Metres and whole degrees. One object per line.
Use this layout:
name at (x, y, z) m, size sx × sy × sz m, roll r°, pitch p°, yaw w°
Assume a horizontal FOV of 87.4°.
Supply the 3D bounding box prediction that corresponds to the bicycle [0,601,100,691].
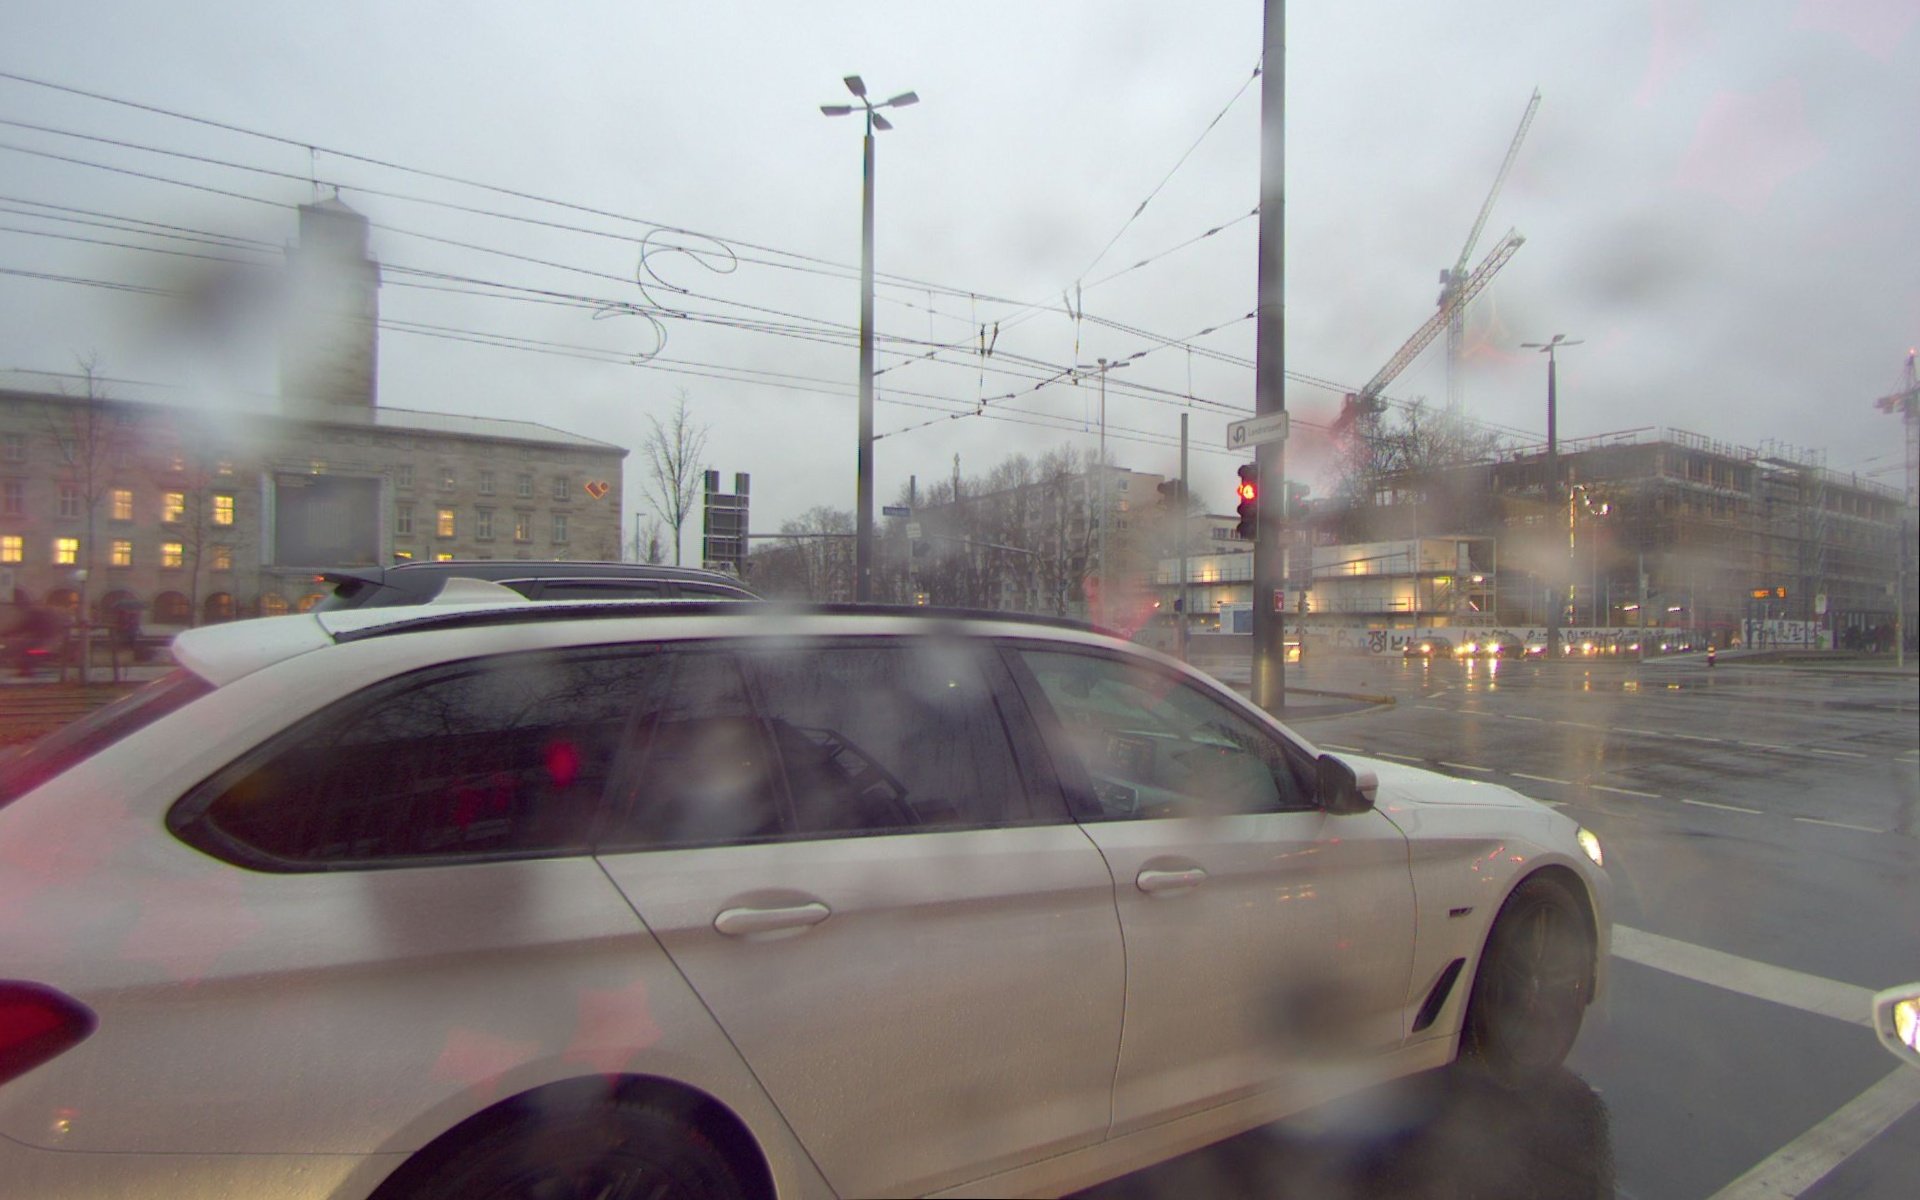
bicycle at (-18.789, 0.922, 20.257) m, size 2.042 × 1.755 × 0.757 m, roll 3°, pitch -1°, yaw -33°

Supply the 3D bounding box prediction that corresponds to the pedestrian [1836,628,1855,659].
pedestrian at (54.506, 2.674, 61.838) m, size 0.547 × 1.906 × 0.695 m, roll 2°, pitch 0°, yaw -30°

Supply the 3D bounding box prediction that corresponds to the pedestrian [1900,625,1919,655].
pedestrian at (66.143, 2.751, 69.874) m, size 1.084 × 2.040 × 0.935 m, roll 2°, pitch 0°, yaw -38°

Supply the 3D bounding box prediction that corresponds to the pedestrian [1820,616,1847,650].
pedestrian at (53.459, 1.999, 61.466) m, size 1.082 × 2.040 × 0.937 m, roll 2°, pitch 0°, yaw -33°

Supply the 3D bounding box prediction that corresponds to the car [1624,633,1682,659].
car at (50.452, 3.358, 73.126) m, size 3.954 × 1.814 × 1.983 m, roll 2°, pitch 0°, yaw -31°

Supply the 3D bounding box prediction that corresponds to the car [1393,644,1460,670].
car at (29.502, 3.579, 63.469) m, size 3.953 × 1.550 × 1.984 m, roll 2°, pitch -2°, yaw -30°

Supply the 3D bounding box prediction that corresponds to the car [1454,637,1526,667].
car at (31.225, 3.056, 59.158) m, size 3.953 × 1.679 × 1.984 m, roll 2°, pitch -2°, yaw -30°

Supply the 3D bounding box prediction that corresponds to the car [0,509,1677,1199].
car at (0.000, 0.708, 3.104) m, size 4.508 × 1.506 × 2.007 m, roll 2°, pitch -2°, yaw -31°

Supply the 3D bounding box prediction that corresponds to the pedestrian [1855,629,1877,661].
pedestrian at (56.581, 2.801, 62.743) m, size 0.754 × 1.922 × 0.761 m, roll 3°, pitch -1°, yaw -30°

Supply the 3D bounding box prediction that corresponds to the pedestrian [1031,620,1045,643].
pedestrian at (6.871, 2.796, 88.443) m, size 0.810 × 1.959 × 0.916 m, roll 2°, pitch 0°, yaw -36°

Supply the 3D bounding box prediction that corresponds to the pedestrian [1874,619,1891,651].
pedestrian at (57.942, 2.199, 63.068) m, size 0.659 × 1.994 × 0.566 m, roll 2°, pitch 1°, yaw -36°

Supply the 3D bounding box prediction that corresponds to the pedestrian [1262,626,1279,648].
pedestrian at (19.873, 2.375, 64.355) m, size 0.716 × 1.407 × 0.725 m, roll 2°, pitch 0°, yaw -29°

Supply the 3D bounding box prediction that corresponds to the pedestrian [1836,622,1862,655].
pedestrian at (55.262, 2.384, 62.425) m, size 1.082 × 2.040 × 0.937 m, roll 2°, pitch 0°, yaw -32°

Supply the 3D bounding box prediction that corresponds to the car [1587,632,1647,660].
car at (45.853, 3.204, 70.118) m, size 3.954 × 1.814 × 1.983 m, roll 2°, pitch 0°, yaw -31°

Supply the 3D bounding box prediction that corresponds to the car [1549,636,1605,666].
car at (40.892, 3.366, 66.535) m, size 3.963 × 1.852 × 1.852 m, roll 2°, pitch 0°, yaw -37°

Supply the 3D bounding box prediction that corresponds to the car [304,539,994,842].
car at (-2.072, 0.555, 7.230) m, size 4.238 × 1.605 × 1.958 m, roll 2°, pitch -1°, yaw -29°

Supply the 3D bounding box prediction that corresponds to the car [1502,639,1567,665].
car at (35.872, 3.251, 62.717) m, size 4.577 × 1.550 × 2.059 m, roll 2°, pitch -2°, yaw -40°

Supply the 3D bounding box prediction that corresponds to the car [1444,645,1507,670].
car at (34.606, 3.852, 67.459) m, size 3.953 × 1.550 × 1.984 m, roll 2°, pitch -2°, yaw -30°

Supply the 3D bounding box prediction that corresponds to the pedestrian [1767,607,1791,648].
pedestrian at (47.238, 1.584, 57.930) m, size 0.754 × 2.354 × 0.761 m, roll 3°, pitch -1°, yaw -30°

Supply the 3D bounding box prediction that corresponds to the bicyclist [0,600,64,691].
bicyclist at (-18.817, 0.914, 20.229) m, size 0.951 × 1.755 × 0.757 m, roll 3°, pitch -1°, yaw -33°
